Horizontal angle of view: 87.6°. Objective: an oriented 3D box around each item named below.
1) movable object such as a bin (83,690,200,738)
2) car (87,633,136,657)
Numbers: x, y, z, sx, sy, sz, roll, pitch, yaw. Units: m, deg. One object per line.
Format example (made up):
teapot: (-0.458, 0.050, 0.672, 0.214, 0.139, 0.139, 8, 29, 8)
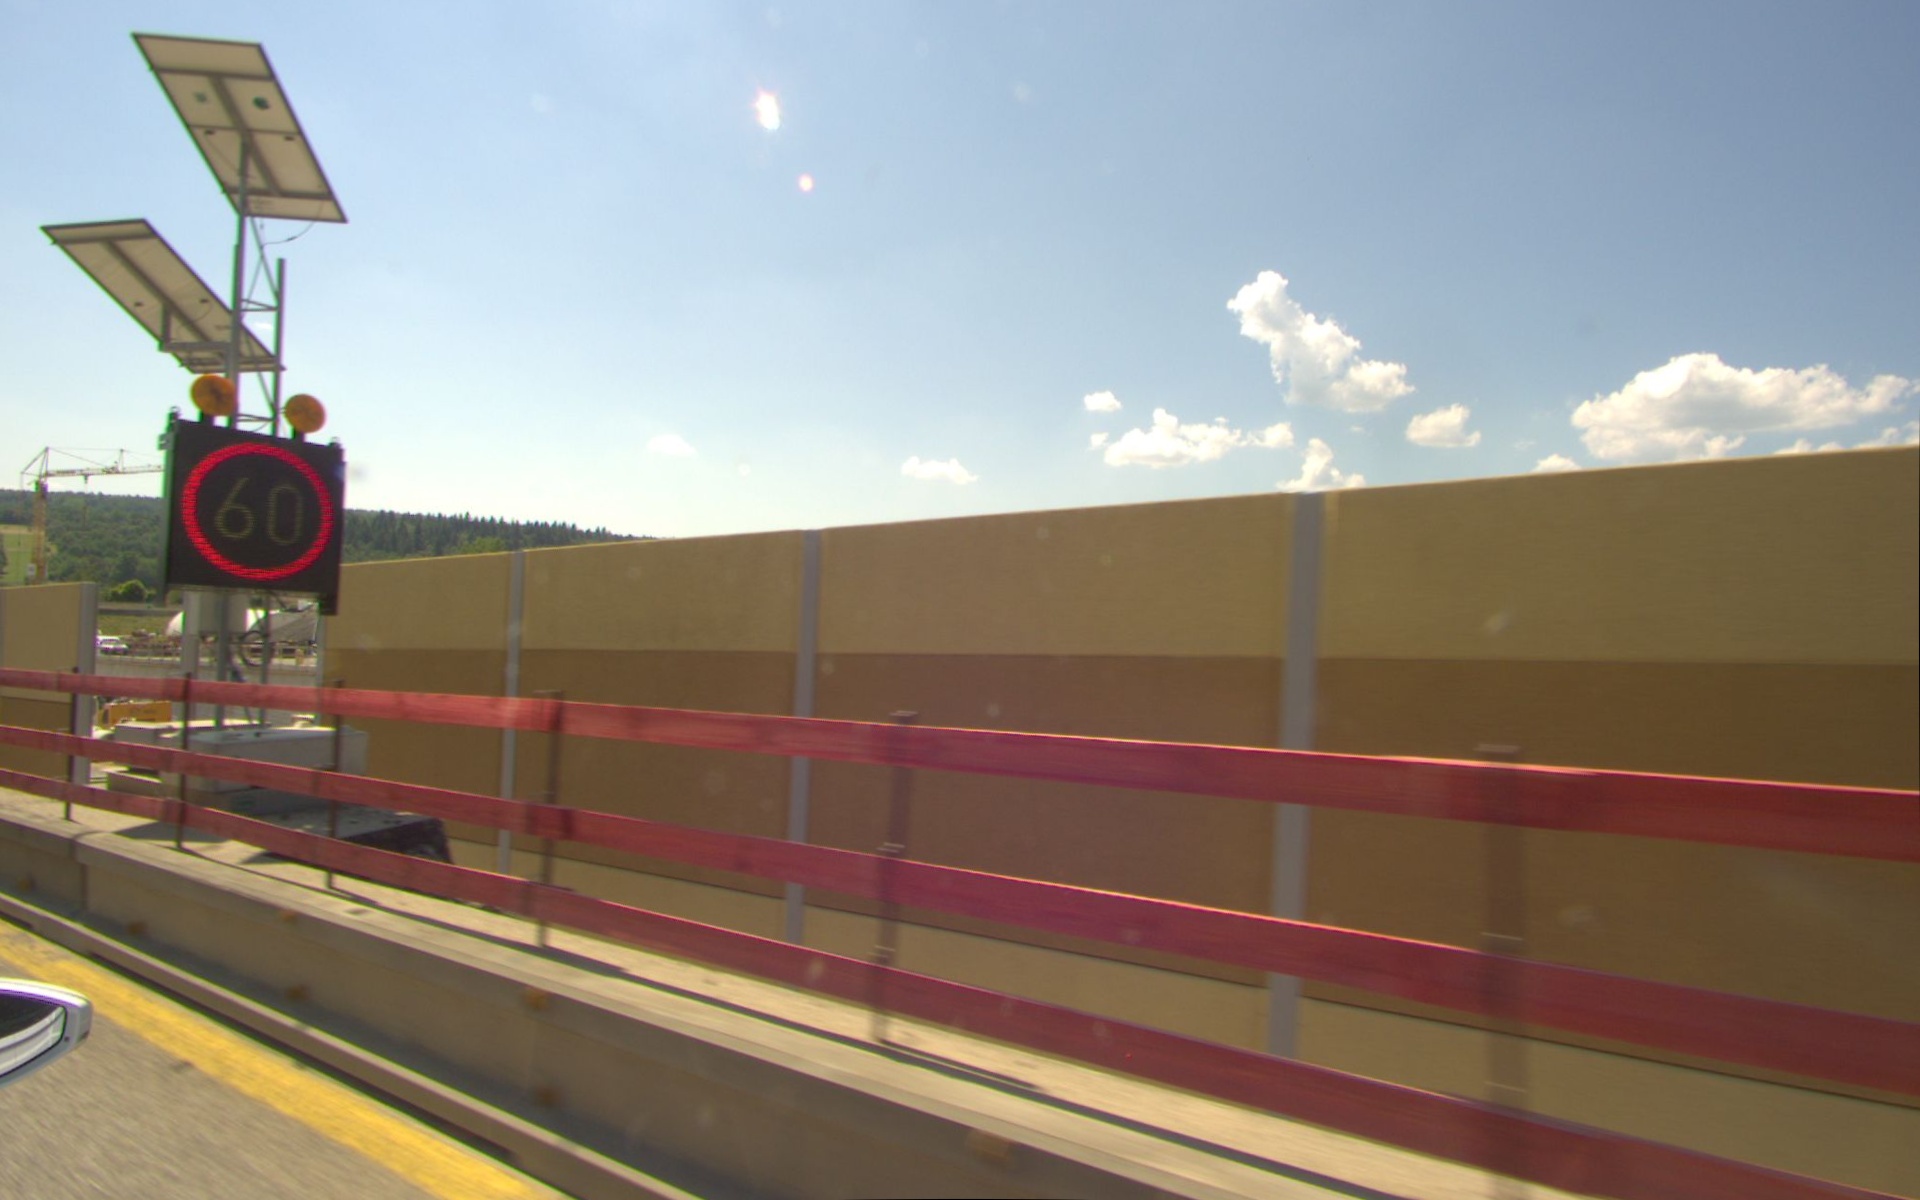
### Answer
movable object such as a bin: (-49.813, 6.828, 60.884, 7.783, 2.475, 3.159, -1, -4, 33)
car: (-75.349, 3.956, 88.883, 4.752, 2.039, 1.804, -1, -2, 30)
